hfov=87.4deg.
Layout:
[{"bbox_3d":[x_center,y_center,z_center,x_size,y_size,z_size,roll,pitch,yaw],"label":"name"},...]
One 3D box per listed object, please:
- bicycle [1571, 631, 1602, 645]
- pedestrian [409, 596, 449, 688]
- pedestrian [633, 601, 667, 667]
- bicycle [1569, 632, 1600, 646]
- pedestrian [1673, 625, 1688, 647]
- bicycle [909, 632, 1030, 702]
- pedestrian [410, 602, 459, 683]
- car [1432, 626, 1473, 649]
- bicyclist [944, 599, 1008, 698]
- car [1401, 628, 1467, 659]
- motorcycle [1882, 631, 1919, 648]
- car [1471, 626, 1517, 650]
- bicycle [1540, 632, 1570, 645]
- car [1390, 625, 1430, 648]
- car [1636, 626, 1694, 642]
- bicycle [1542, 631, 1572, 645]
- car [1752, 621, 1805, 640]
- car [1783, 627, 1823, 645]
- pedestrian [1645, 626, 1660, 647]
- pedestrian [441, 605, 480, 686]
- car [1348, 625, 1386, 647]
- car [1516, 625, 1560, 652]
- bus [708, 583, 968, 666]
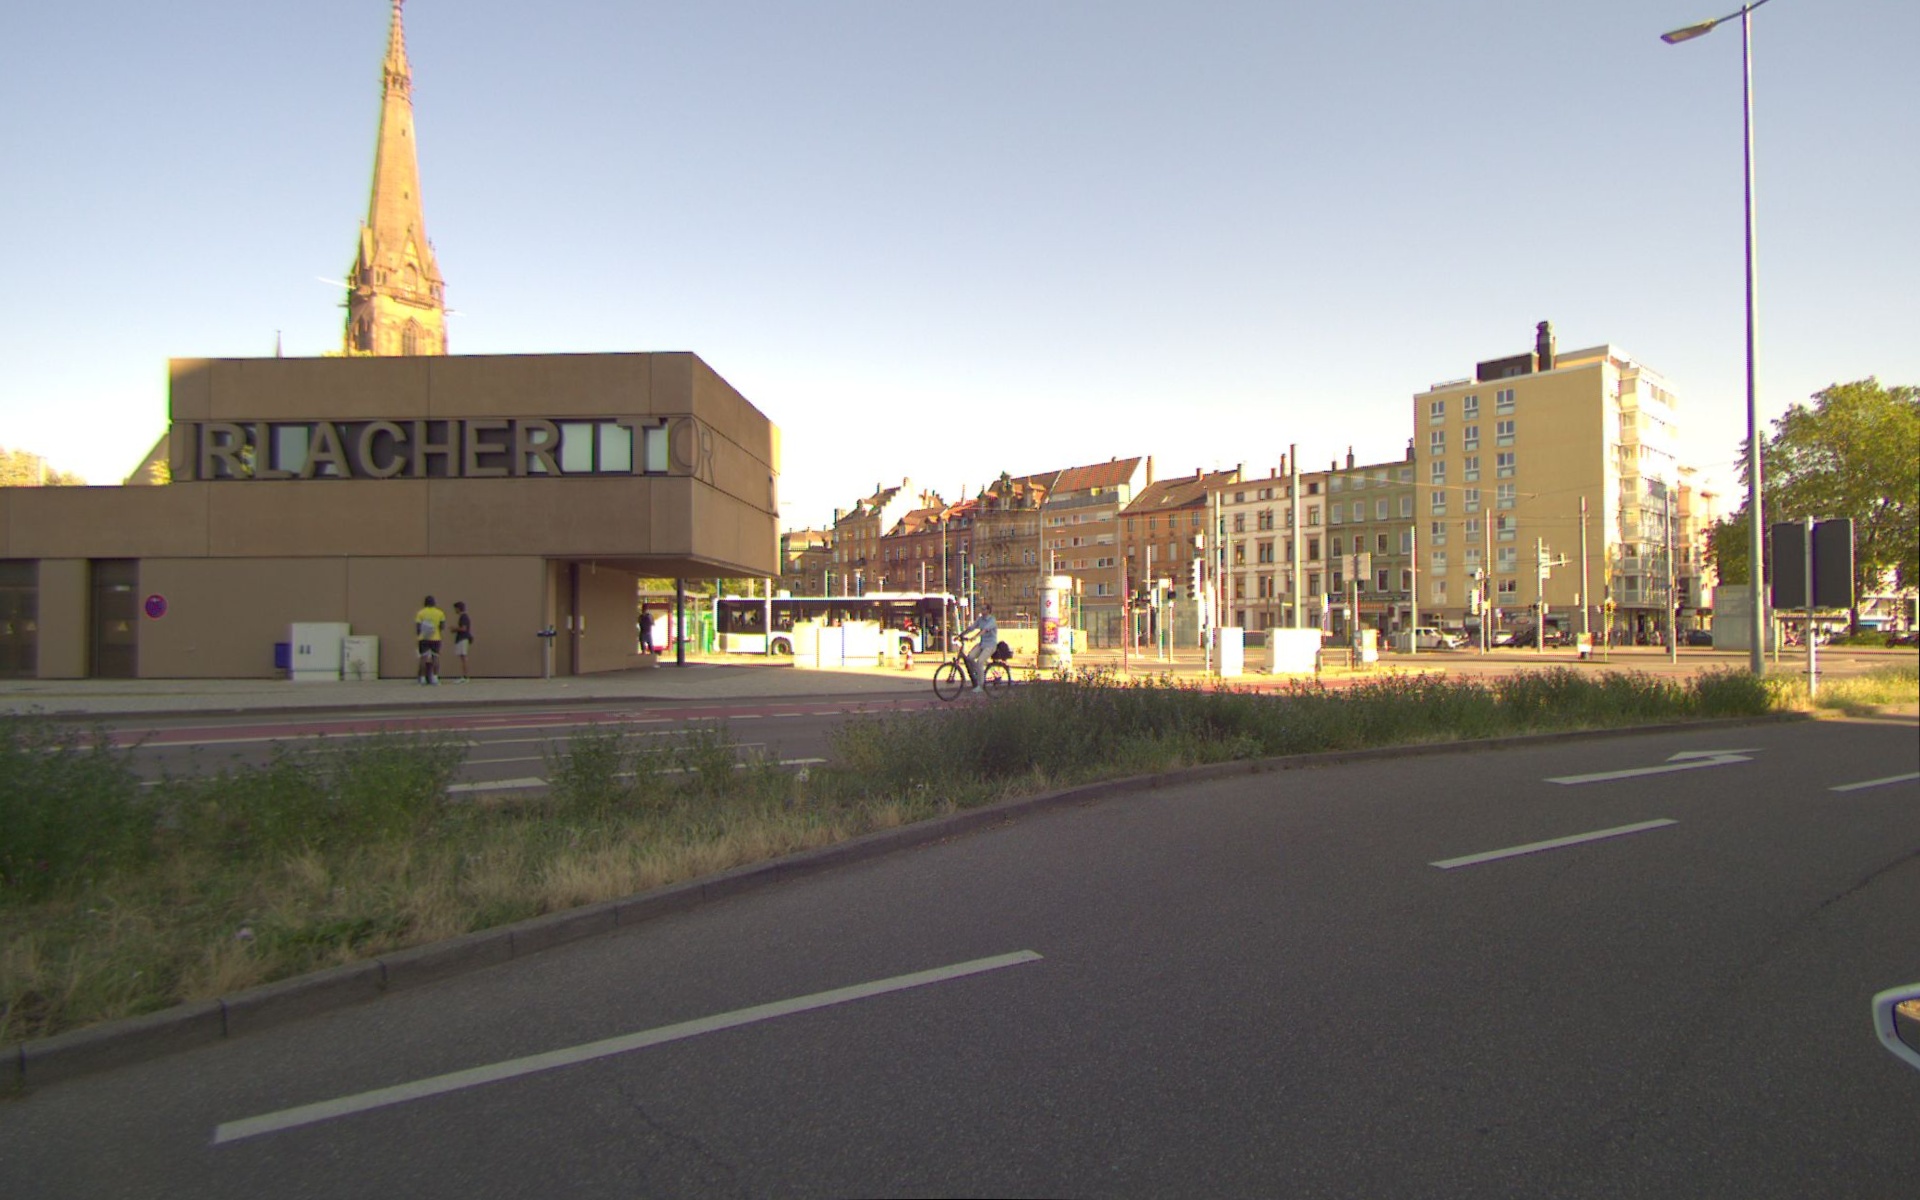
[{"bbox_3d":[51.372,3.126,82.353,0.771,1.104,2.024,1,-2,-42],"label":"bicycle"},{"bbox_3d":[-10.953,0.847,20.748,0.630,1.860,0.714,-1,0,-23],"label":"pedestrian"},{"bbox_3d":[-9.703,1.062,31.445,0.704,2.007,0.981,-1,-2,3],"label":"pedestrian"},{"bbox_3d":[50.786,3.137,81.744,0.771,1.104,2.024,1,-2,-42],"label":"bicycle"},{"bbox_3d":[56.671,2.851,79.038,0.776,1.698,0.769,1,-2,-40],"label":"pedestrian"},{"bbox_3d":[0.219,1.272,19.454,2.538,1.272,0.733,2,-2,-42],"label":"bicycle"},{"bbox_3d":[-11.587,0.928,22.175,0.651,1.754,0.736,-1,0,2],"label":"pedestrian"},{"bbox_3d":[39.985,3.034,81.698,1.802,1.742,4.002,-1,0,8],"label":"car"},{"bbox_3d":[0.314,0.934,19.551,1.006,1.856,0.733,2,-2,-42],"label":"bicyclist"},{"bbox_3d":[33.043,3.003,70.133,1.985,2.040,3.700,-1,0,-42],"label":"car"},{"bbox_3d":[63.247,2.656,67.172,0.681,1.068,2.269,-1,0,-35],"label":"motorcycle"},{"bbox_3d":[42.094,2.973,79.276,1.802,1.771,4.002,-1,0,6],"label":"car"},{"bbox_3d":[49.346,3.168,83.358,0.771,1.104,2.024,1,-2,-42],"label":"bicycle"},{"bbox_3d":[37.815,3.081,84.491,2.044,1.742,4.012,-1,0,8],"label":"car"},{"bbox_3d":[62.170,3.000,88.576,1.802,1.441,3.947,2,-2,-45],"label":"car"},{"bbox_3d":[49.925,3.157,84.010,0.771,1.104,2.024,1,-2,-42],"label":"bicycle"},{"bbox_3d":[83.014,3.073,101.978,3.931,1.882,1.848,-1,0,32],"label":"car"},{"bbox_3d":[69.400,2.953,82.649,3.966,1.471,1.832,1,-1,-39],"label":"car"},{"bbox_3d":[55.522,2.912,80.512,0.776,1.698,0.769,1,-2,-40],"label":"pedestrian"},{"bbox_3d":[-10.721,0.965,21.571,0.540,1.711,0.638,-1,0,-10],"label":"pedestrian"},{"bbox_3d":[35.416,3.134,87.494,2.044,1.742,4.012,-1,0,8],"label":"car"},{"bbox_3d":[44.347,2.916,77.140,1.815,1.882,4.002,-1,0,13],"label":"car"},{"bbox_3d":[-5.696,1.221,48.569,11.944,3.359,3.253,2,-5,3],"label":"bus"}]
